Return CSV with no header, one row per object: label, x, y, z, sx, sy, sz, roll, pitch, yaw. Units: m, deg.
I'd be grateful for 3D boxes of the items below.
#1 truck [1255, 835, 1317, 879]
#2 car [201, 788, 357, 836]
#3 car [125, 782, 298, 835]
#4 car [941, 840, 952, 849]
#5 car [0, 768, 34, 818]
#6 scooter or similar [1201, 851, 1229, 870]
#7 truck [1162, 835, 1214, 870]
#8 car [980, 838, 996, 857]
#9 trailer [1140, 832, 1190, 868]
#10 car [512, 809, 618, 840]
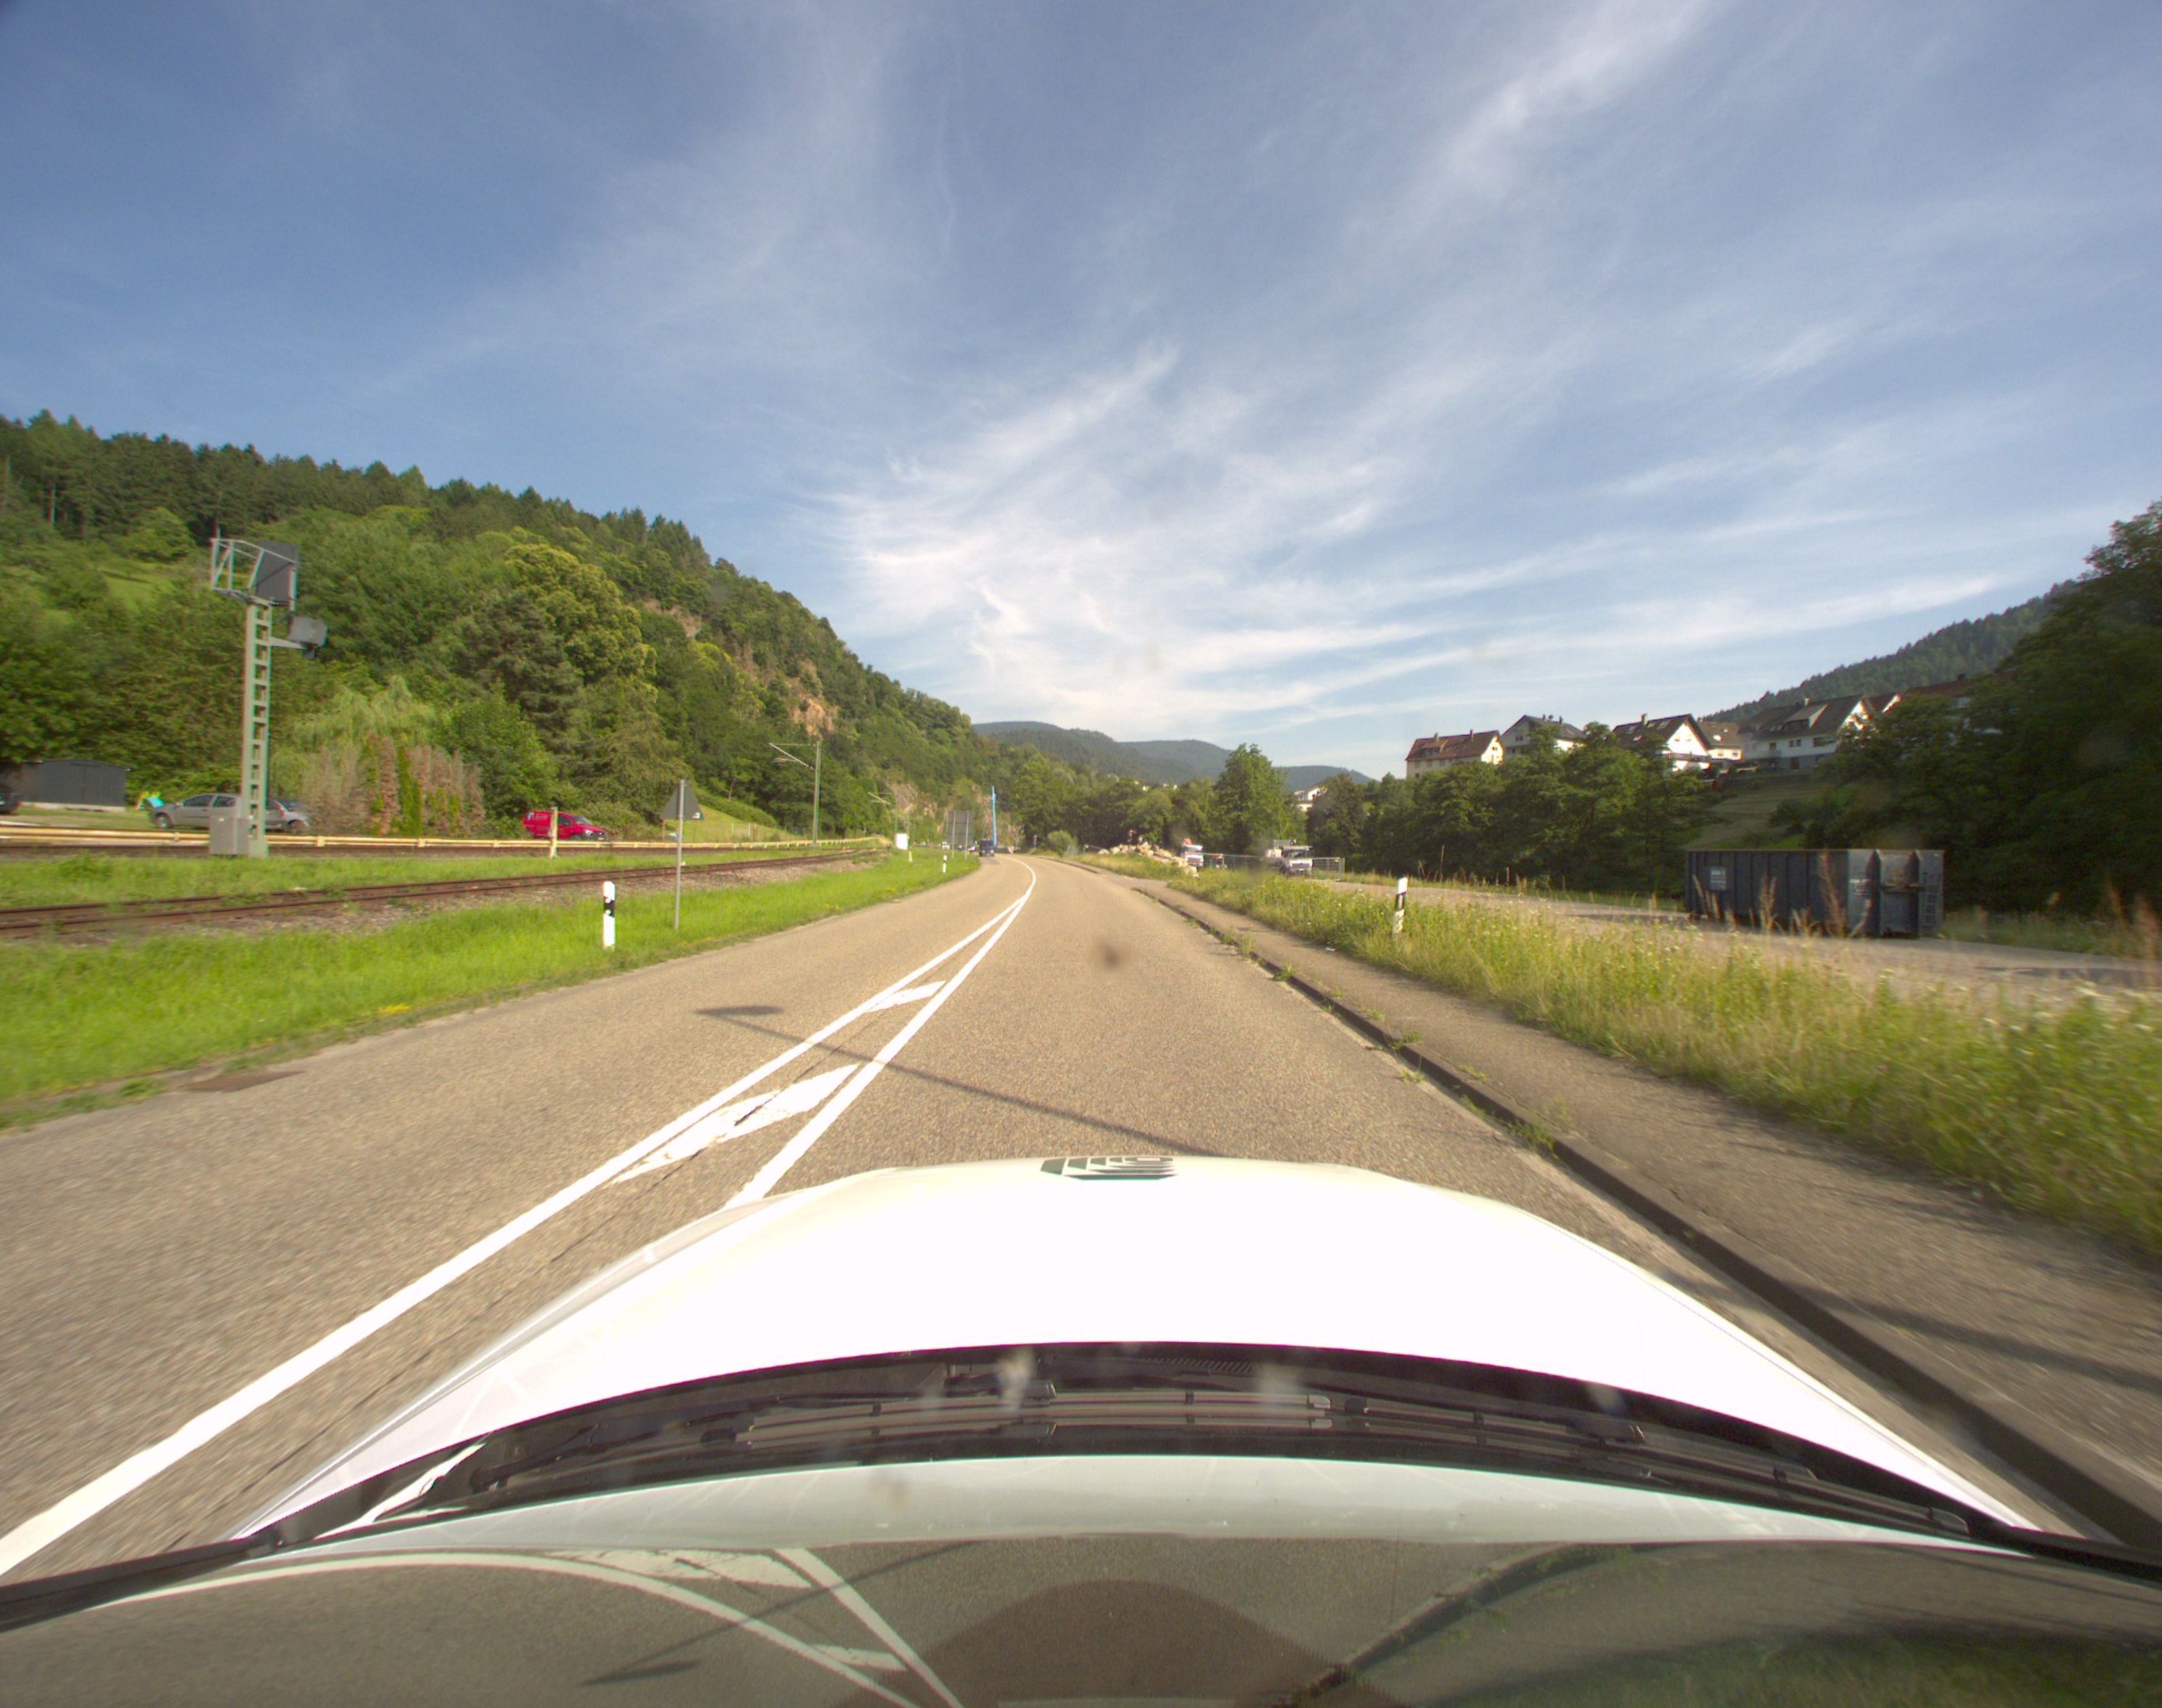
truck,19.346,0.226,77.390,3.097,3.782,8.634,3,0,-3
car,-31.707,-1.638,32.292,4.130,1.691,2.000,2,0,0
car,-31.845,-1.639,29.931,4.130,1.691,2.000,2,0,0
car,-31.168,-2.170,188.400,1.874,1.781,4.575,1,2,-16
car,-41.460,-2.394,29.828,3.969,1.790,1.822,5,0,4
scooter or similar,15.396,0.729,93.507,1.993,2.013,3.988,0,1,-9
truck,12.306,-0.197,94.175,3.106,3.782,8.609,3,0,-12
car,-13.585,-0.944,119.120,2.124,2.615,5.468,-1,1,-6
trailer,10.508,-0.508,103.216,3.367,4.274,9.868,2,0,-12
car,-31.739,-1.782,50.179,4.943,1.691,2.458,2,0,3
